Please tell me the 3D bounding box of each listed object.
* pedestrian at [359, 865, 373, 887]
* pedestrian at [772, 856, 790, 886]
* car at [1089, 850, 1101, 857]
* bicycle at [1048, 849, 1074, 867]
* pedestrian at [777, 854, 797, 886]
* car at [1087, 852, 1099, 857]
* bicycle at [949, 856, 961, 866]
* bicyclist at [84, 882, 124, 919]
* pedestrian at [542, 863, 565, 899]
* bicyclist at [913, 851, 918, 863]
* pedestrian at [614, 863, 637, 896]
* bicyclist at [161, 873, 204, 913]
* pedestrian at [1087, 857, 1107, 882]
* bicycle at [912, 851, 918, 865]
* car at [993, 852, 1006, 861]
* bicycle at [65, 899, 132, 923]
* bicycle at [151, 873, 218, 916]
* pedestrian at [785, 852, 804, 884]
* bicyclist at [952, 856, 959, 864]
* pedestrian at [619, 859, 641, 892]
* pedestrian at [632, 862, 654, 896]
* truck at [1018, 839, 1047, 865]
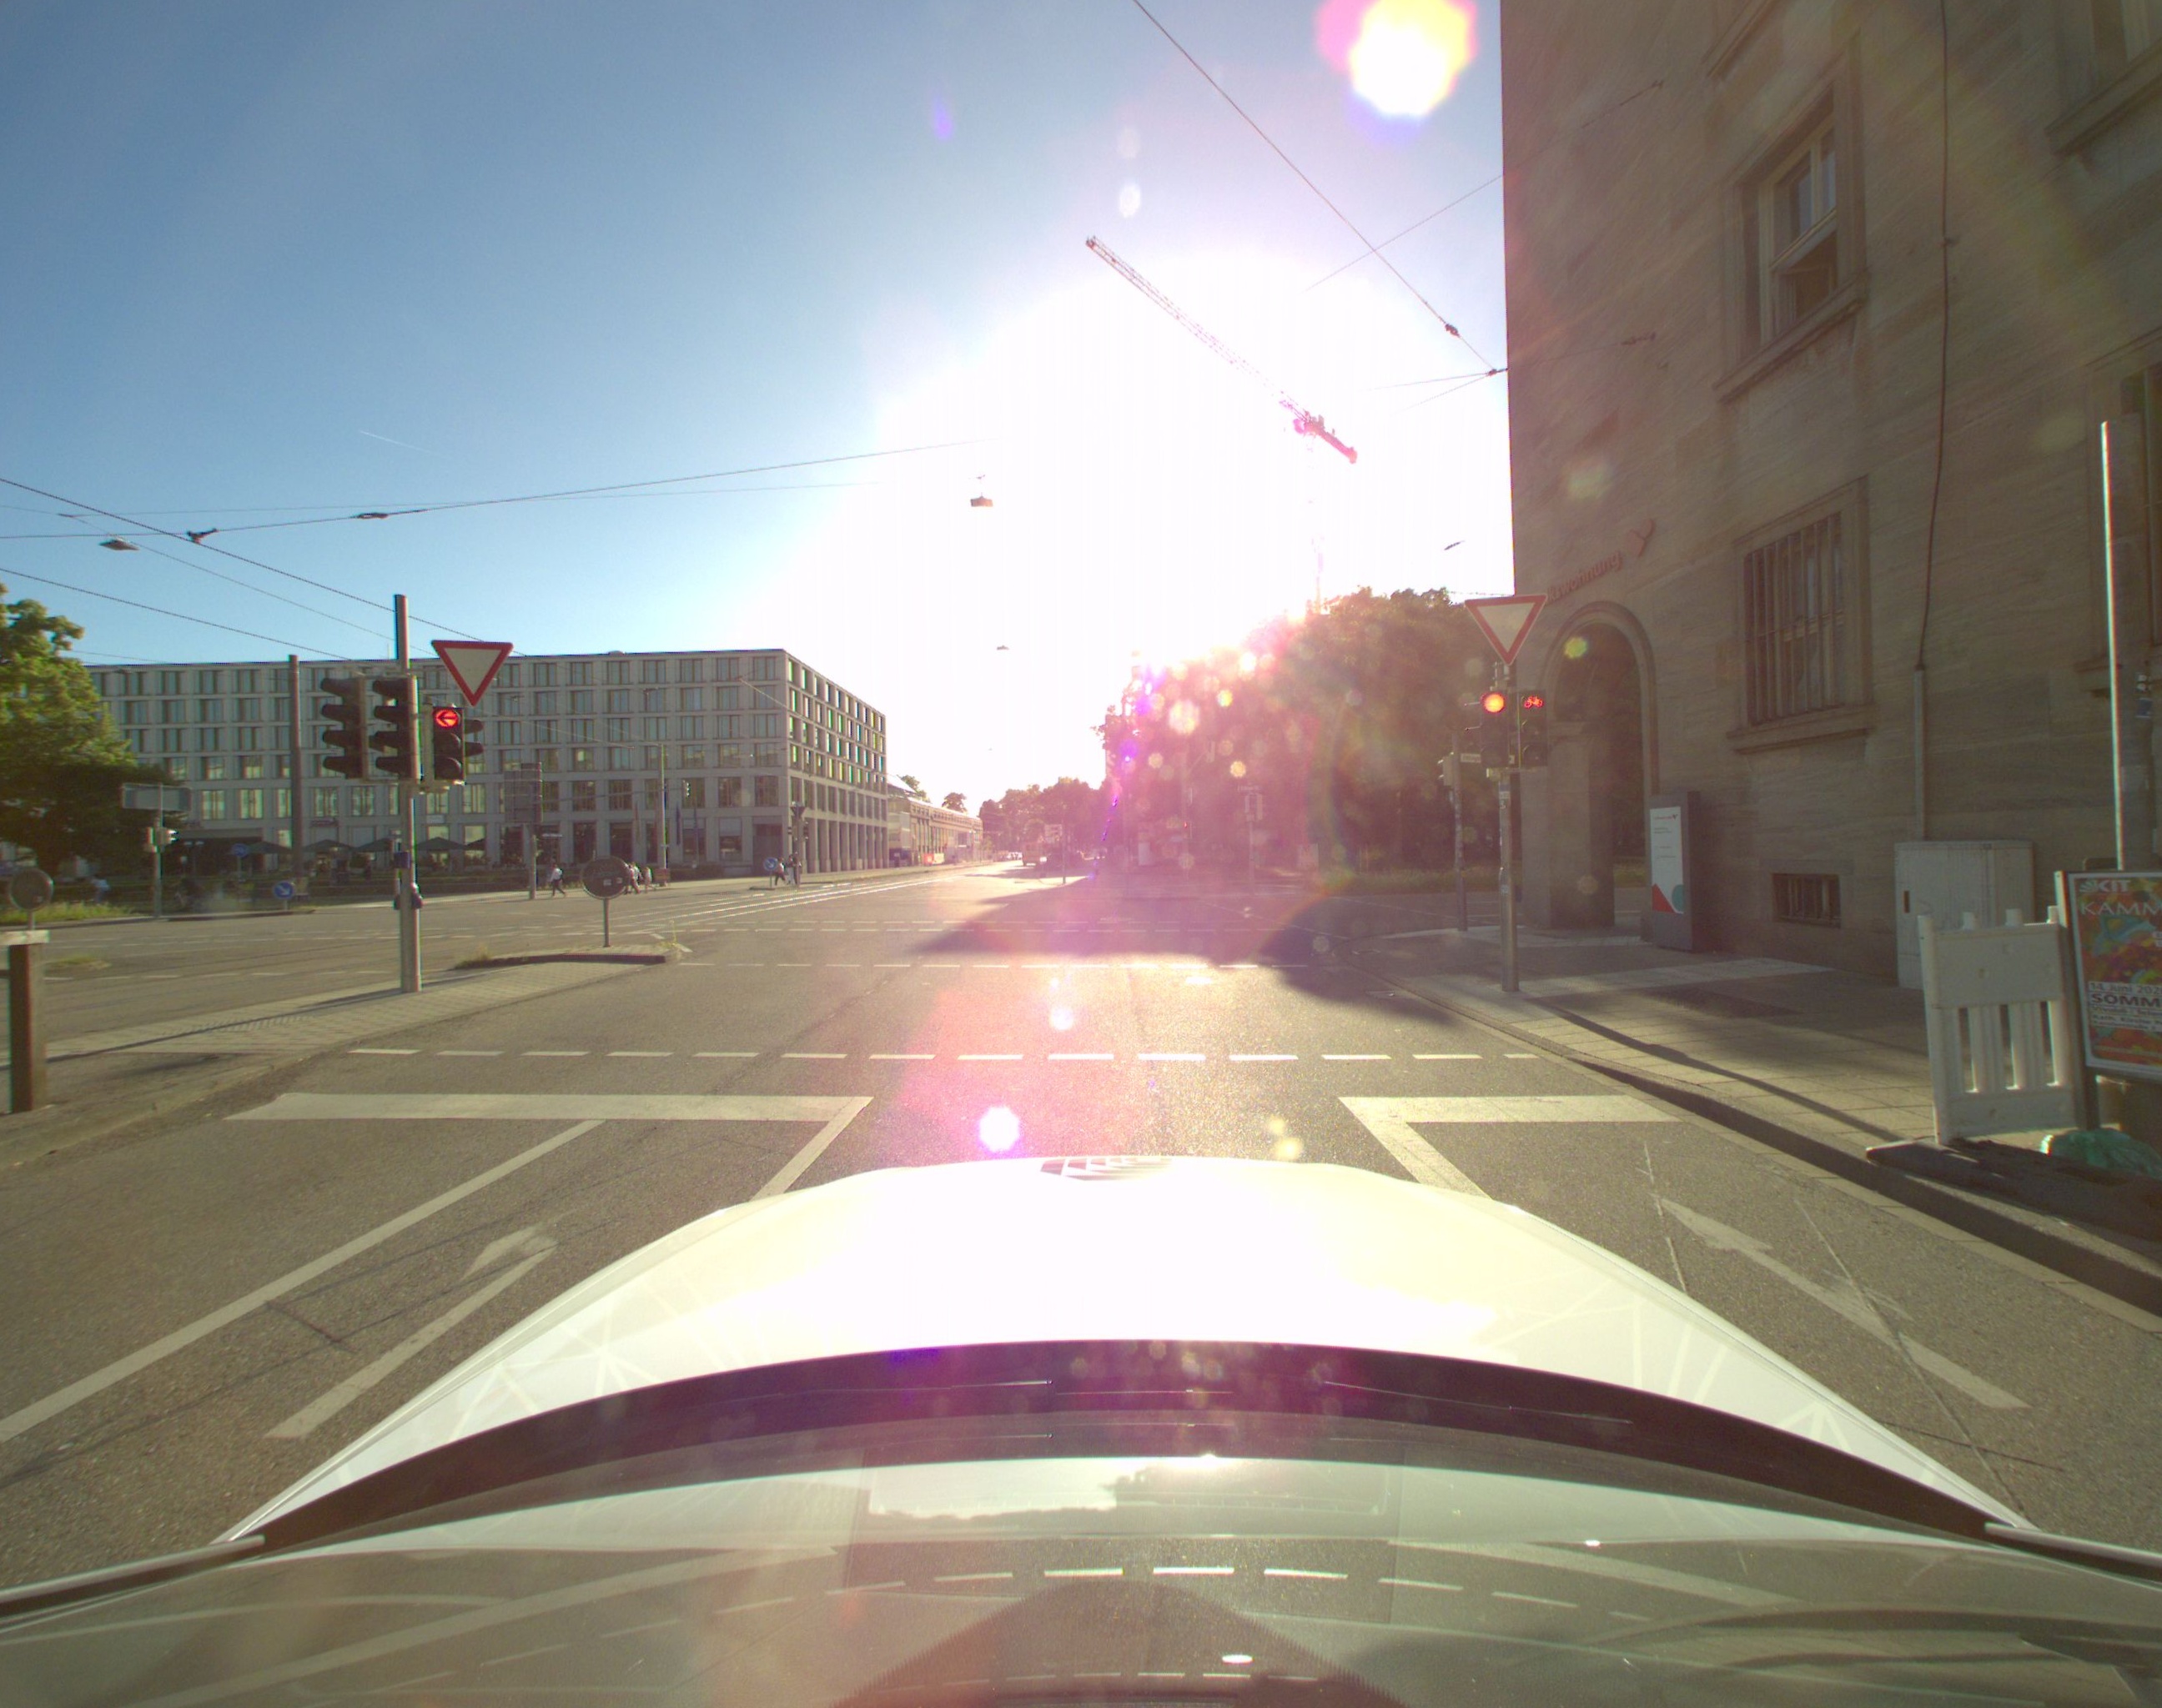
[{"bbox_3d":[-53.700,1.631,61.129,0.538,1.669,0.561,0,-1,-2],"label":"pedestrian"},{"bbox_3d":[-16.536,0.936,44.859,0.691,1.644,0.622,-2,0,2],"label":"pedestrian"},{"bbox_3d":[3.676,-0.121,213.622,3.207,1.588,1.445,0,-1,-3],"label":"car"},{"bbox_3d":[-2.037,0.407,81.604,2.538,1.743,1.038,0,-1,1],"label":"bicycle"},{"bbox_3d":[-15.439,0.810,42.713,0.790,1.644,0.621,-2,0,-3],"label":"pedestrian"},{"bbox_3d":[3.149,0.009,211.431,3.207,1.263,1.373,0,-1,0],"label":"car"},{"bbox_3d":[-18.947,1.011,122.728,0.685,1.511,2.954,-1,-1,12],"label":"bicycle"},{"bbox_3d":[-41.942,1.988,34.969,0.972,1.560,0.574,-2,0,-3],"label":"bicyclist"},{"bbox_3d":[-28.557,1.435,44.100,0.797,1.918,0.638,-2,0,7],"label":"pedestrian"},{"bbox_3d":[-26.651,0.483,131.012,0.569,2.024,0.762,-2,0,0],"label":"bicyclist"},{"bbox_3d":[-24.957,1.391,44.633,0.865,1.803,0.665,-2,0,7],"label":"pedestrian"},{"bbox_3d":[-38.387,1.641,34.794,1.075,1.641,0.595,-2,0,-11],"label":"bicyclist"},{"bbox_3d":[0.864,0.815,43.600,0.989,1.317,0.768,-2,0,4],"label":"pedestrian"},{"bbox_3d":[-26.644,0.620,131.016,0.569,2.296,1.422,-2,0,0],"label":"bicycle"},{"bbox_3d":[-15.672,0.434,156.994,1.888,1.607,4.499,-2,0,0],"label":"car"},{"bbox_3d":[-42.153,2.446,34.957,2.060,0.933,0.574,-2,0,-3],"label":"bicycle"},{"bbox_3d":[-38.316,1.734,34.813,1.898,1.735,0.595,-2,0,-11],"label":"bicycle"},{"bbox_3d":[-15.992,0.791,45.424,0.744,1.761,0.679,-2,-1,6],"label":"pedestrian"},{"bbox_3d":[-18.898,0.905,122.798,0.685,1.328,1.003,-1,-1,12],"label":"bicyclist"},{"bbox_3d":[-25.238,1.201,45.610,0.735,1.803,0.717,-2,0,7],"label":"pedestrian"},{"bbox_3d":[-24.259,1.385,45.081,0.865,1.803,0.533,-2,0,7],"label":"pedestrian"},{"bbox_3d":[-5.886,-0.282,99.479,2.705,3.016,6.495,-1,0,3],"label":"truck"}]
